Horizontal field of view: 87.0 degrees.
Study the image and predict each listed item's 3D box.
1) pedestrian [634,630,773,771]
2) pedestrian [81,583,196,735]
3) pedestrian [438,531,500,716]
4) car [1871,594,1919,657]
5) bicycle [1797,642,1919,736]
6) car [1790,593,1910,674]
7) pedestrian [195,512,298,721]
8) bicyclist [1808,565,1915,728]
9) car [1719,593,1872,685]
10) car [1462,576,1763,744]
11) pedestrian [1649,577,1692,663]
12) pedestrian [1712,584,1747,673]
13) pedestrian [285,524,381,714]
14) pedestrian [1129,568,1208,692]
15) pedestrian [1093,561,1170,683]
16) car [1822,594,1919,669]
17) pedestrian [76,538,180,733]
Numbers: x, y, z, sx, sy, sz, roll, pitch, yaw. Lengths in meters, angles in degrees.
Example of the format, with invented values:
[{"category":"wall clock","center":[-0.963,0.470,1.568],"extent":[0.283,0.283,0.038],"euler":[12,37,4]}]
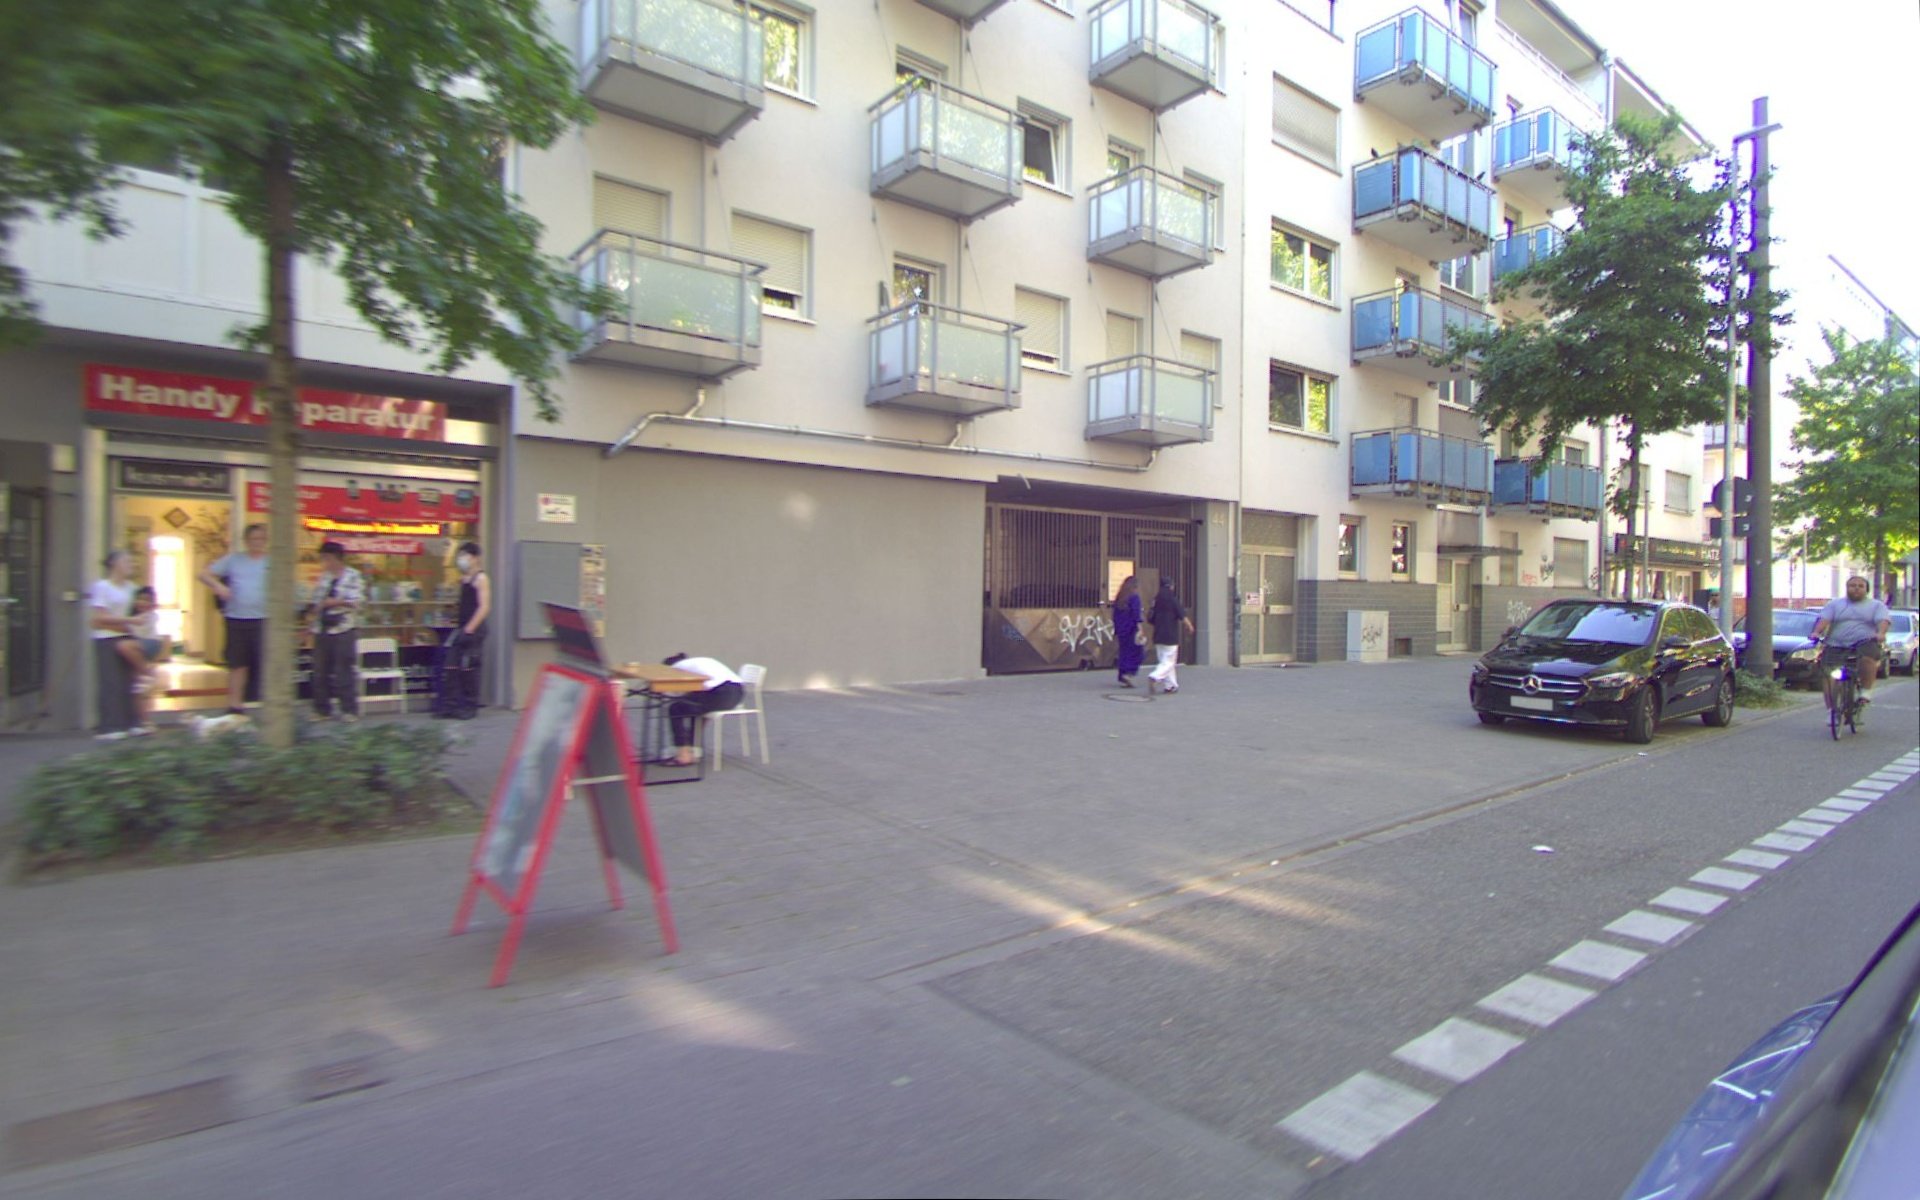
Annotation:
[{"category":"pedestrian","center":[-2.120,0.787,8.341],"extent":[0.997,1.040,0.652],"euler":[0,0,39]},{"category":"pedestrian","center":[-7.260,0.501,8.957],"extent":[0.502,1.292,0.623],"euler":[0,0,15]},{"category":"pedestrian","center":[-4.976,0.228,10.246],"extent":[0.480,1.819,0.432],"euler":[0,0,-39]},{"category":"car","center":[26.722,0.673,28.030],"extent":[4.187,1.590,1.723],"euler":[0,3,-42]},{"category":"bicycle","center":[10.749,1.024,12.072],"extent":[1.904,0.949,0.790],"euler":[0,0,-38]},{"category":"car","center":[19.204,0.679,21.815],"extent":[2.829,1.556,1.448],"euler":[0,2,-39]},{"category":"pedestrian","center":[-7.033,0.155,10.009],"extent":[0.776,1.979,0.508],"euler":[0,0,-29]},{"category":"bicyclist","center":[10.797,0.524,12.113],"extent":[1.079,1.854,0.769],"euler":[0,0,-38]},{"category":"car","center":[16.057,0.680,19.387],"extent":[3.822,1.500,1.626],"euler":[0,3,-41]},{"category":"car","center":[8.013,0.590,12.283],"extent":[4.251,1.606,1.764],"euler":[0,4,-39]},{"category":"pedestrian","center":[15.738,0.436,22.428],"extent":[0.656,1.875,0.535],"euler":[0,0,23]},{"category":"pedestrian","center":[16.531,0.589,21.733],"extent":[0.652,1.875,0.476],"euler":[1,0,-41]},{"category":"pedestrian","center":[-6.202,0.186,10.031],"extent":[0.620,1.828,0.526],"euler":[0,0,5]},{"category":"pedestrian","center":[2.924,0.398,14.183],"extent":[0.854,1.658,0.643],"euler":[1,2,-40]},{"category":"pedestrian","center":[2.492,0.302,14.688],"extent":[0.918,1.698,0.597],"euler":[0,3,-41]},{"category":"car","center":[22.304,0.709,24.216],"extent":[4.053,1.556,1.791],"euler":[0,3,-39]},{"category":"pedestrian","center":[-7.283,0.296,8.869],"extent":[0.500,1.649,0.516],"euler":[0,0,14]}]
